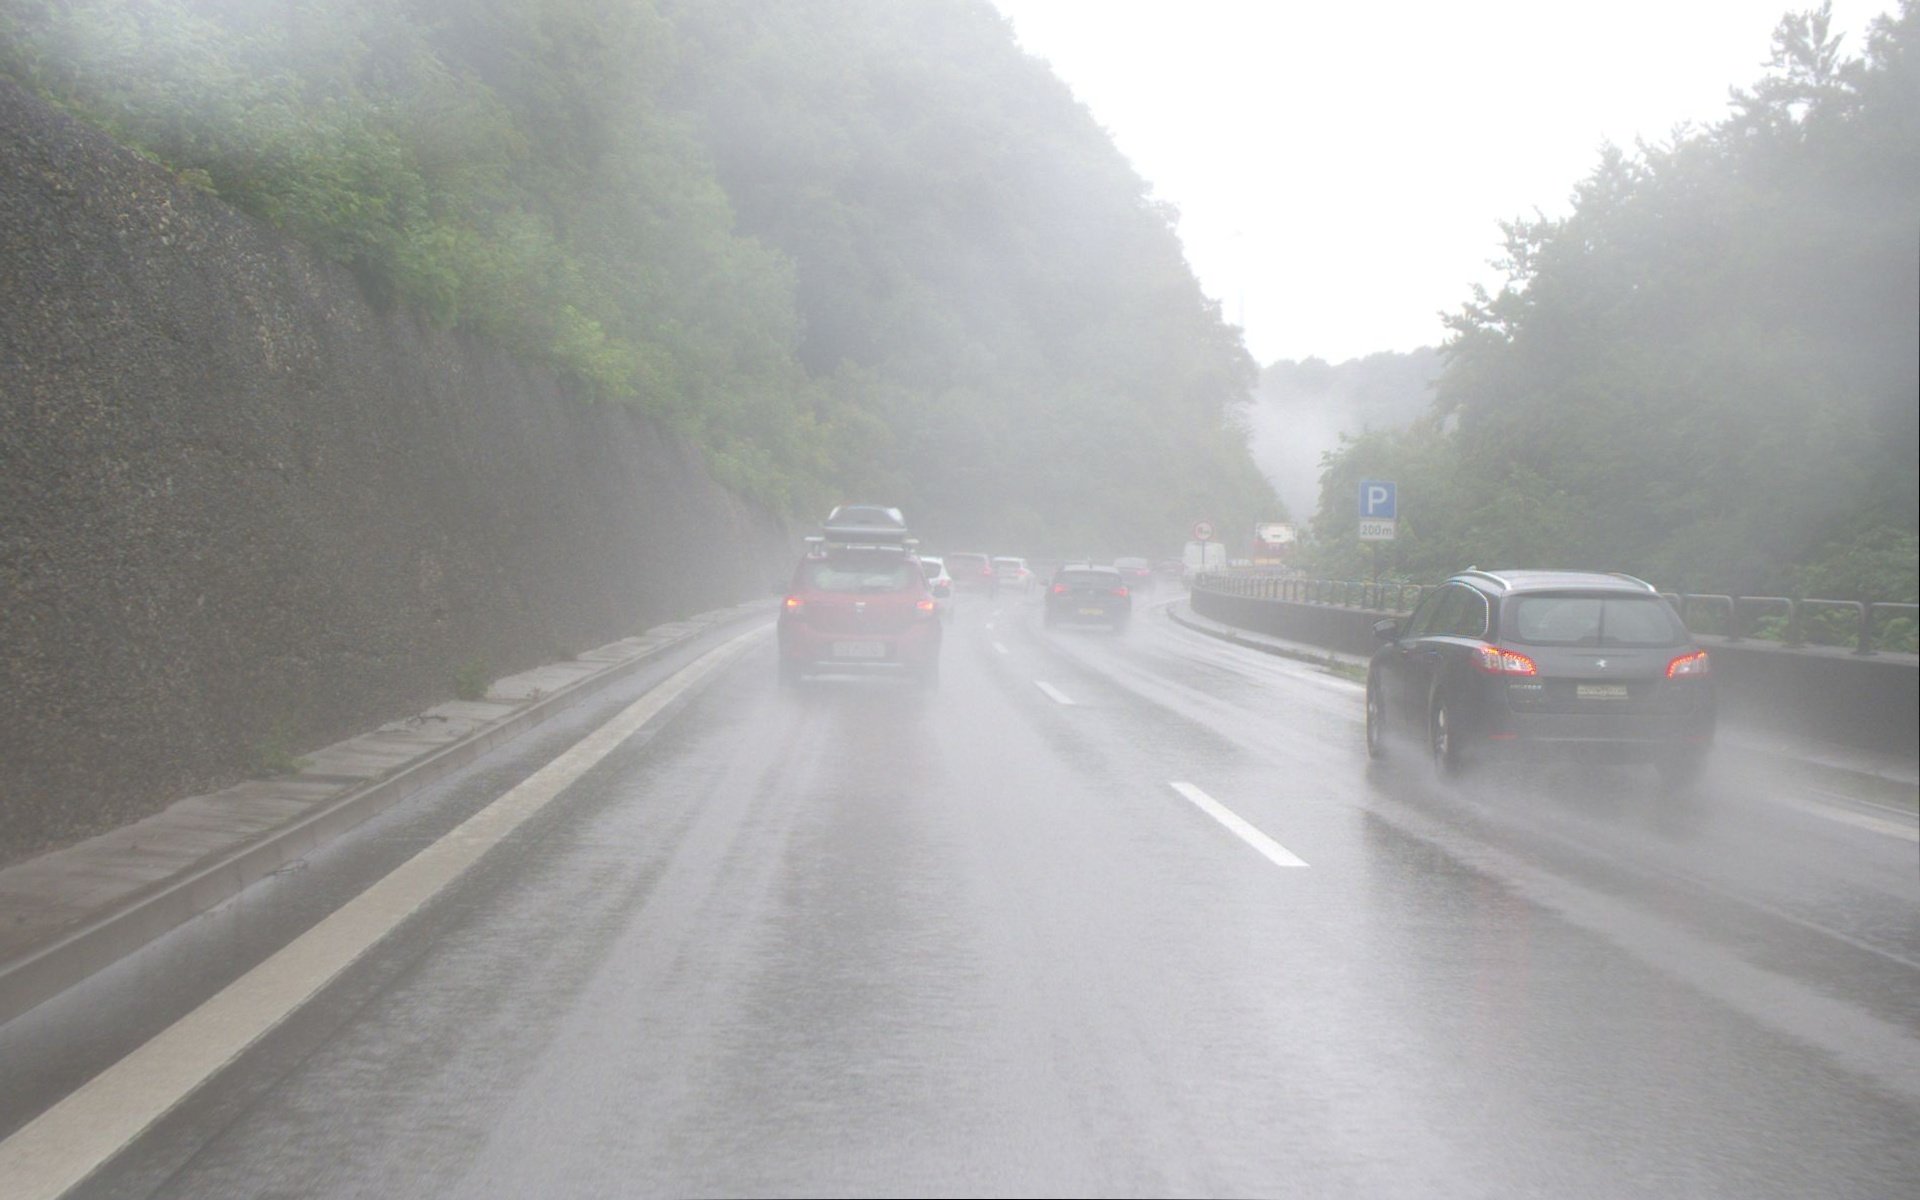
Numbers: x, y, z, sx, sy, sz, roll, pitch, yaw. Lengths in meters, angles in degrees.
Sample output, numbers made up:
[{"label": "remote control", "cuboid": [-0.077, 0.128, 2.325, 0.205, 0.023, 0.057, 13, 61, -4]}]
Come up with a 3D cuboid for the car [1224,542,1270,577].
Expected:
[{"label": "car", "cuboid": [17.170, -2.439, 205.528, 2.450, 2.007, 4.735, 1, 1, 8]}]

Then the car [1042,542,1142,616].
[{"label": "car", "cuboid": [2.814, -0.464, 74.104, 1.993, 1.546, 4.000, 0, 1, 0]}]

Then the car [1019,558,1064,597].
[{"label": "car", "cuboid": [3.760, -1.046, 159.399, 1.993, 1.743, 4.000, -1, 1, 0]}]

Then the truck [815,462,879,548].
[{"label": "truck", "cuboid": [-3.742, -3.137, 114.700, 1.993, 2.741, 5.587, 1, 1, -1]}]

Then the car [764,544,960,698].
[{"label": "car", "cuboid": [-1.083, 0.211, 37.448, 1.993, 1.547, 4.000, -1, 0, -2]}]

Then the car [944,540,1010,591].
[{"label": "car", "cuboid": [0.606, -1.183, 117.189, 1.867, 1.678, 3.999, 1, 1, 6]}]

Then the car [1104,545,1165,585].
[{"label": "car", "cuboid": [7.623, -1.545, 150.132, 1.826, 1.713, 3.997, 1, 1, 15]}]

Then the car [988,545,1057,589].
[{"label": "car", "cuboid": [2.509, -1.295, 137.112, 1.868, 1.689, 3.997, -1, 0, 15]}]

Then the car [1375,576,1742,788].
[{"label": "car", "cuboid": [4.071, 0.512, 24.010, 1.800, 1.303, 4.000, 1, 1, -1]}]

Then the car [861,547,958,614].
[{"label": "car", "cuboid": [-1.105, -0.429, 73.957, 1.993, 1.349, 4.000, 1, 1, -1]}]
